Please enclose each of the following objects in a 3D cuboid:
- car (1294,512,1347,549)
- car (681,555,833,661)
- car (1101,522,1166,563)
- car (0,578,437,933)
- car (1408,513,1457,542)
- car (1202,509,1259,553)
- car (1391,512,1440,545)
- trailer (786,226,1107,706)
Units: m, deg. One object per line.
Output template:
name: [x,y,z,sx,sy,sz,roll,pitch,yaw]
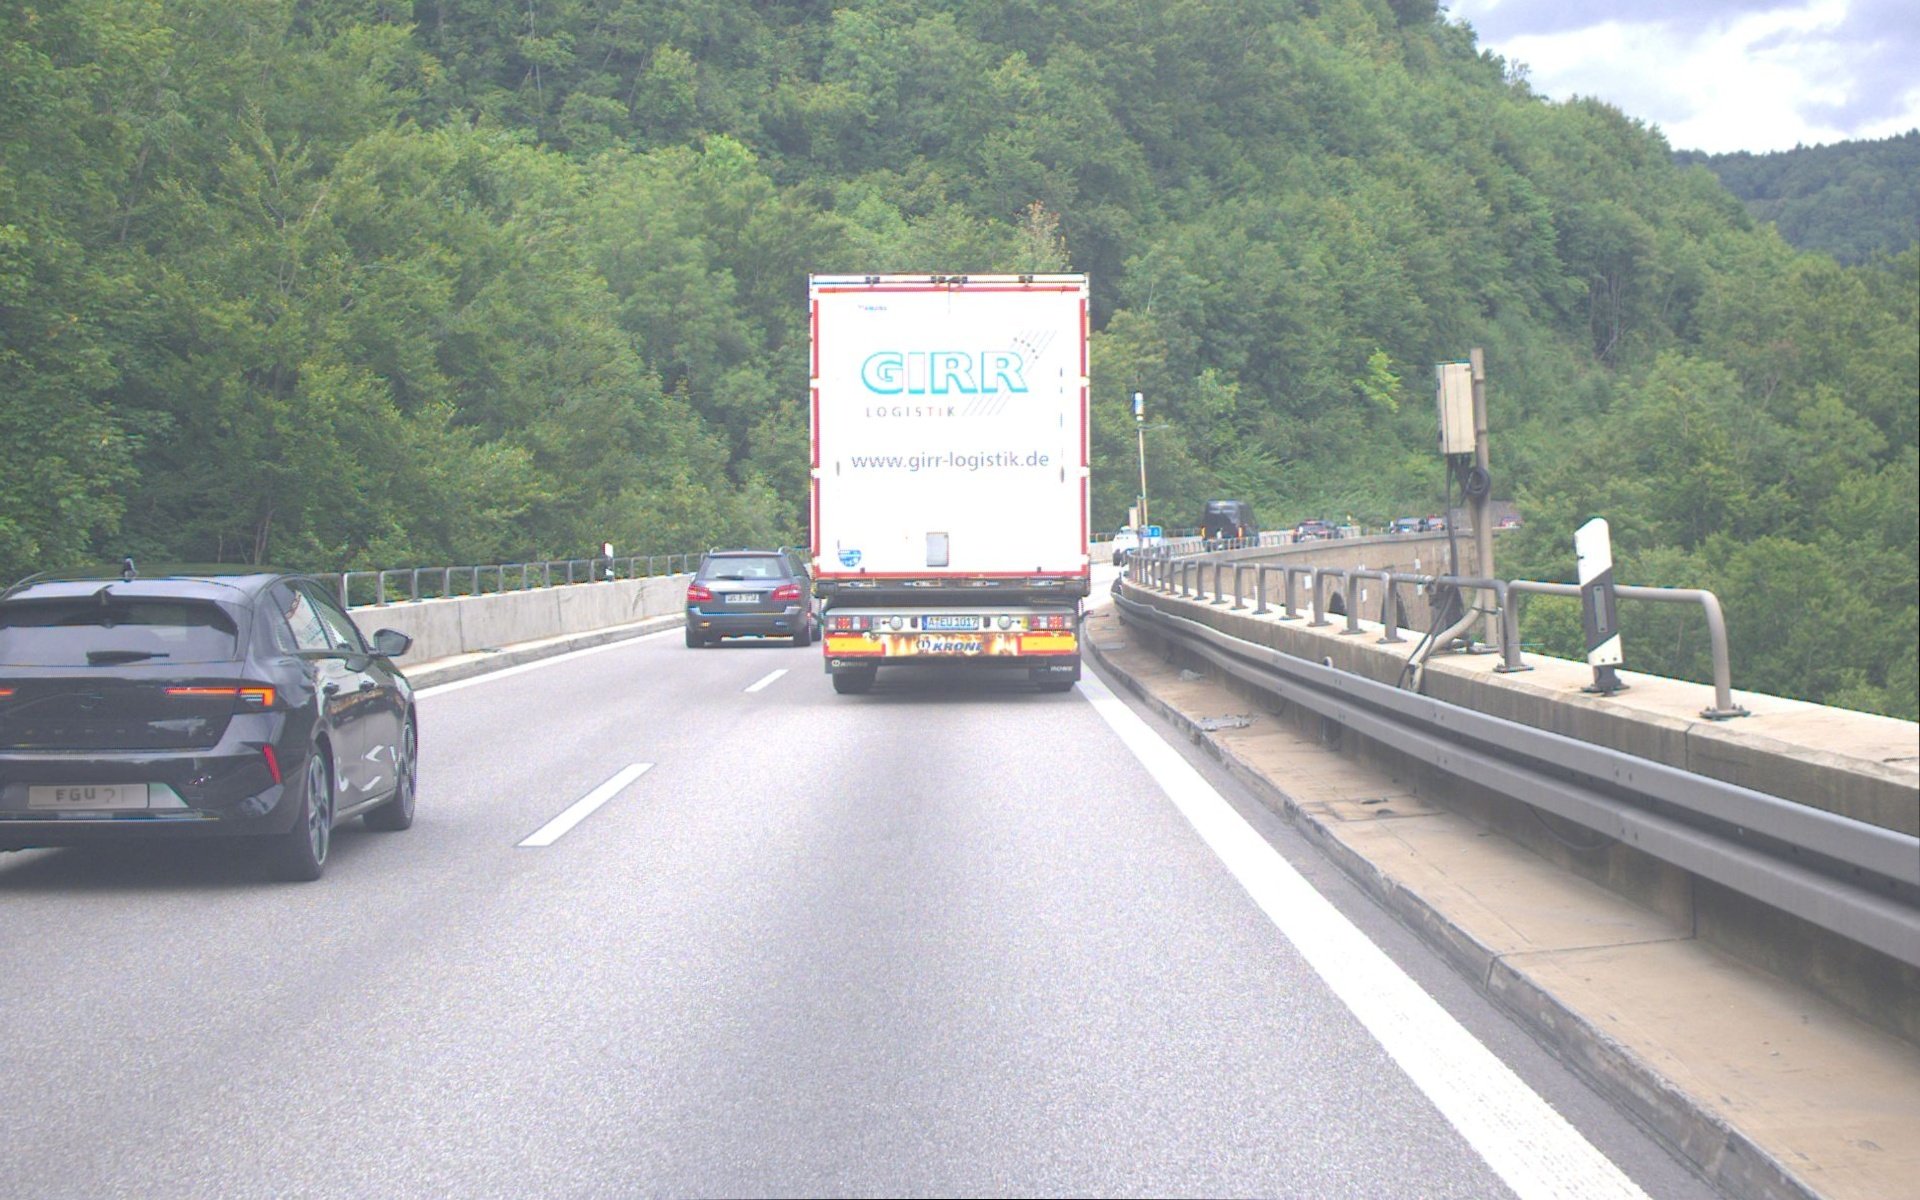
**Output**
car: [17.915,-3.434,170.714,1.995,1.788,3.997,-1,0,16]
car: [-3.023,0.095,51.956,1.883,1.505,4.418,-1,0,2]
car: [7.174,-2.349,141.840,1.995,1.612,3.998,-1,0,13]
car: [-3.773,0.650,16.945,1.773,1.456,4.582,-1,1,-1]
car: [30.278,-4.641,220.254,1.996,1.788,3.995,-1,0,24]
car: [13.012,-3.313,165.208,1.995,2.007,3.997,-1,0,15]
car: [26.159,-4.094,197.347,1.995,1.788,3.996,-1,0,19]
trailer: [-0.119,-1.267,37.243,2.813,4.288,12.245,-1,0,0]
